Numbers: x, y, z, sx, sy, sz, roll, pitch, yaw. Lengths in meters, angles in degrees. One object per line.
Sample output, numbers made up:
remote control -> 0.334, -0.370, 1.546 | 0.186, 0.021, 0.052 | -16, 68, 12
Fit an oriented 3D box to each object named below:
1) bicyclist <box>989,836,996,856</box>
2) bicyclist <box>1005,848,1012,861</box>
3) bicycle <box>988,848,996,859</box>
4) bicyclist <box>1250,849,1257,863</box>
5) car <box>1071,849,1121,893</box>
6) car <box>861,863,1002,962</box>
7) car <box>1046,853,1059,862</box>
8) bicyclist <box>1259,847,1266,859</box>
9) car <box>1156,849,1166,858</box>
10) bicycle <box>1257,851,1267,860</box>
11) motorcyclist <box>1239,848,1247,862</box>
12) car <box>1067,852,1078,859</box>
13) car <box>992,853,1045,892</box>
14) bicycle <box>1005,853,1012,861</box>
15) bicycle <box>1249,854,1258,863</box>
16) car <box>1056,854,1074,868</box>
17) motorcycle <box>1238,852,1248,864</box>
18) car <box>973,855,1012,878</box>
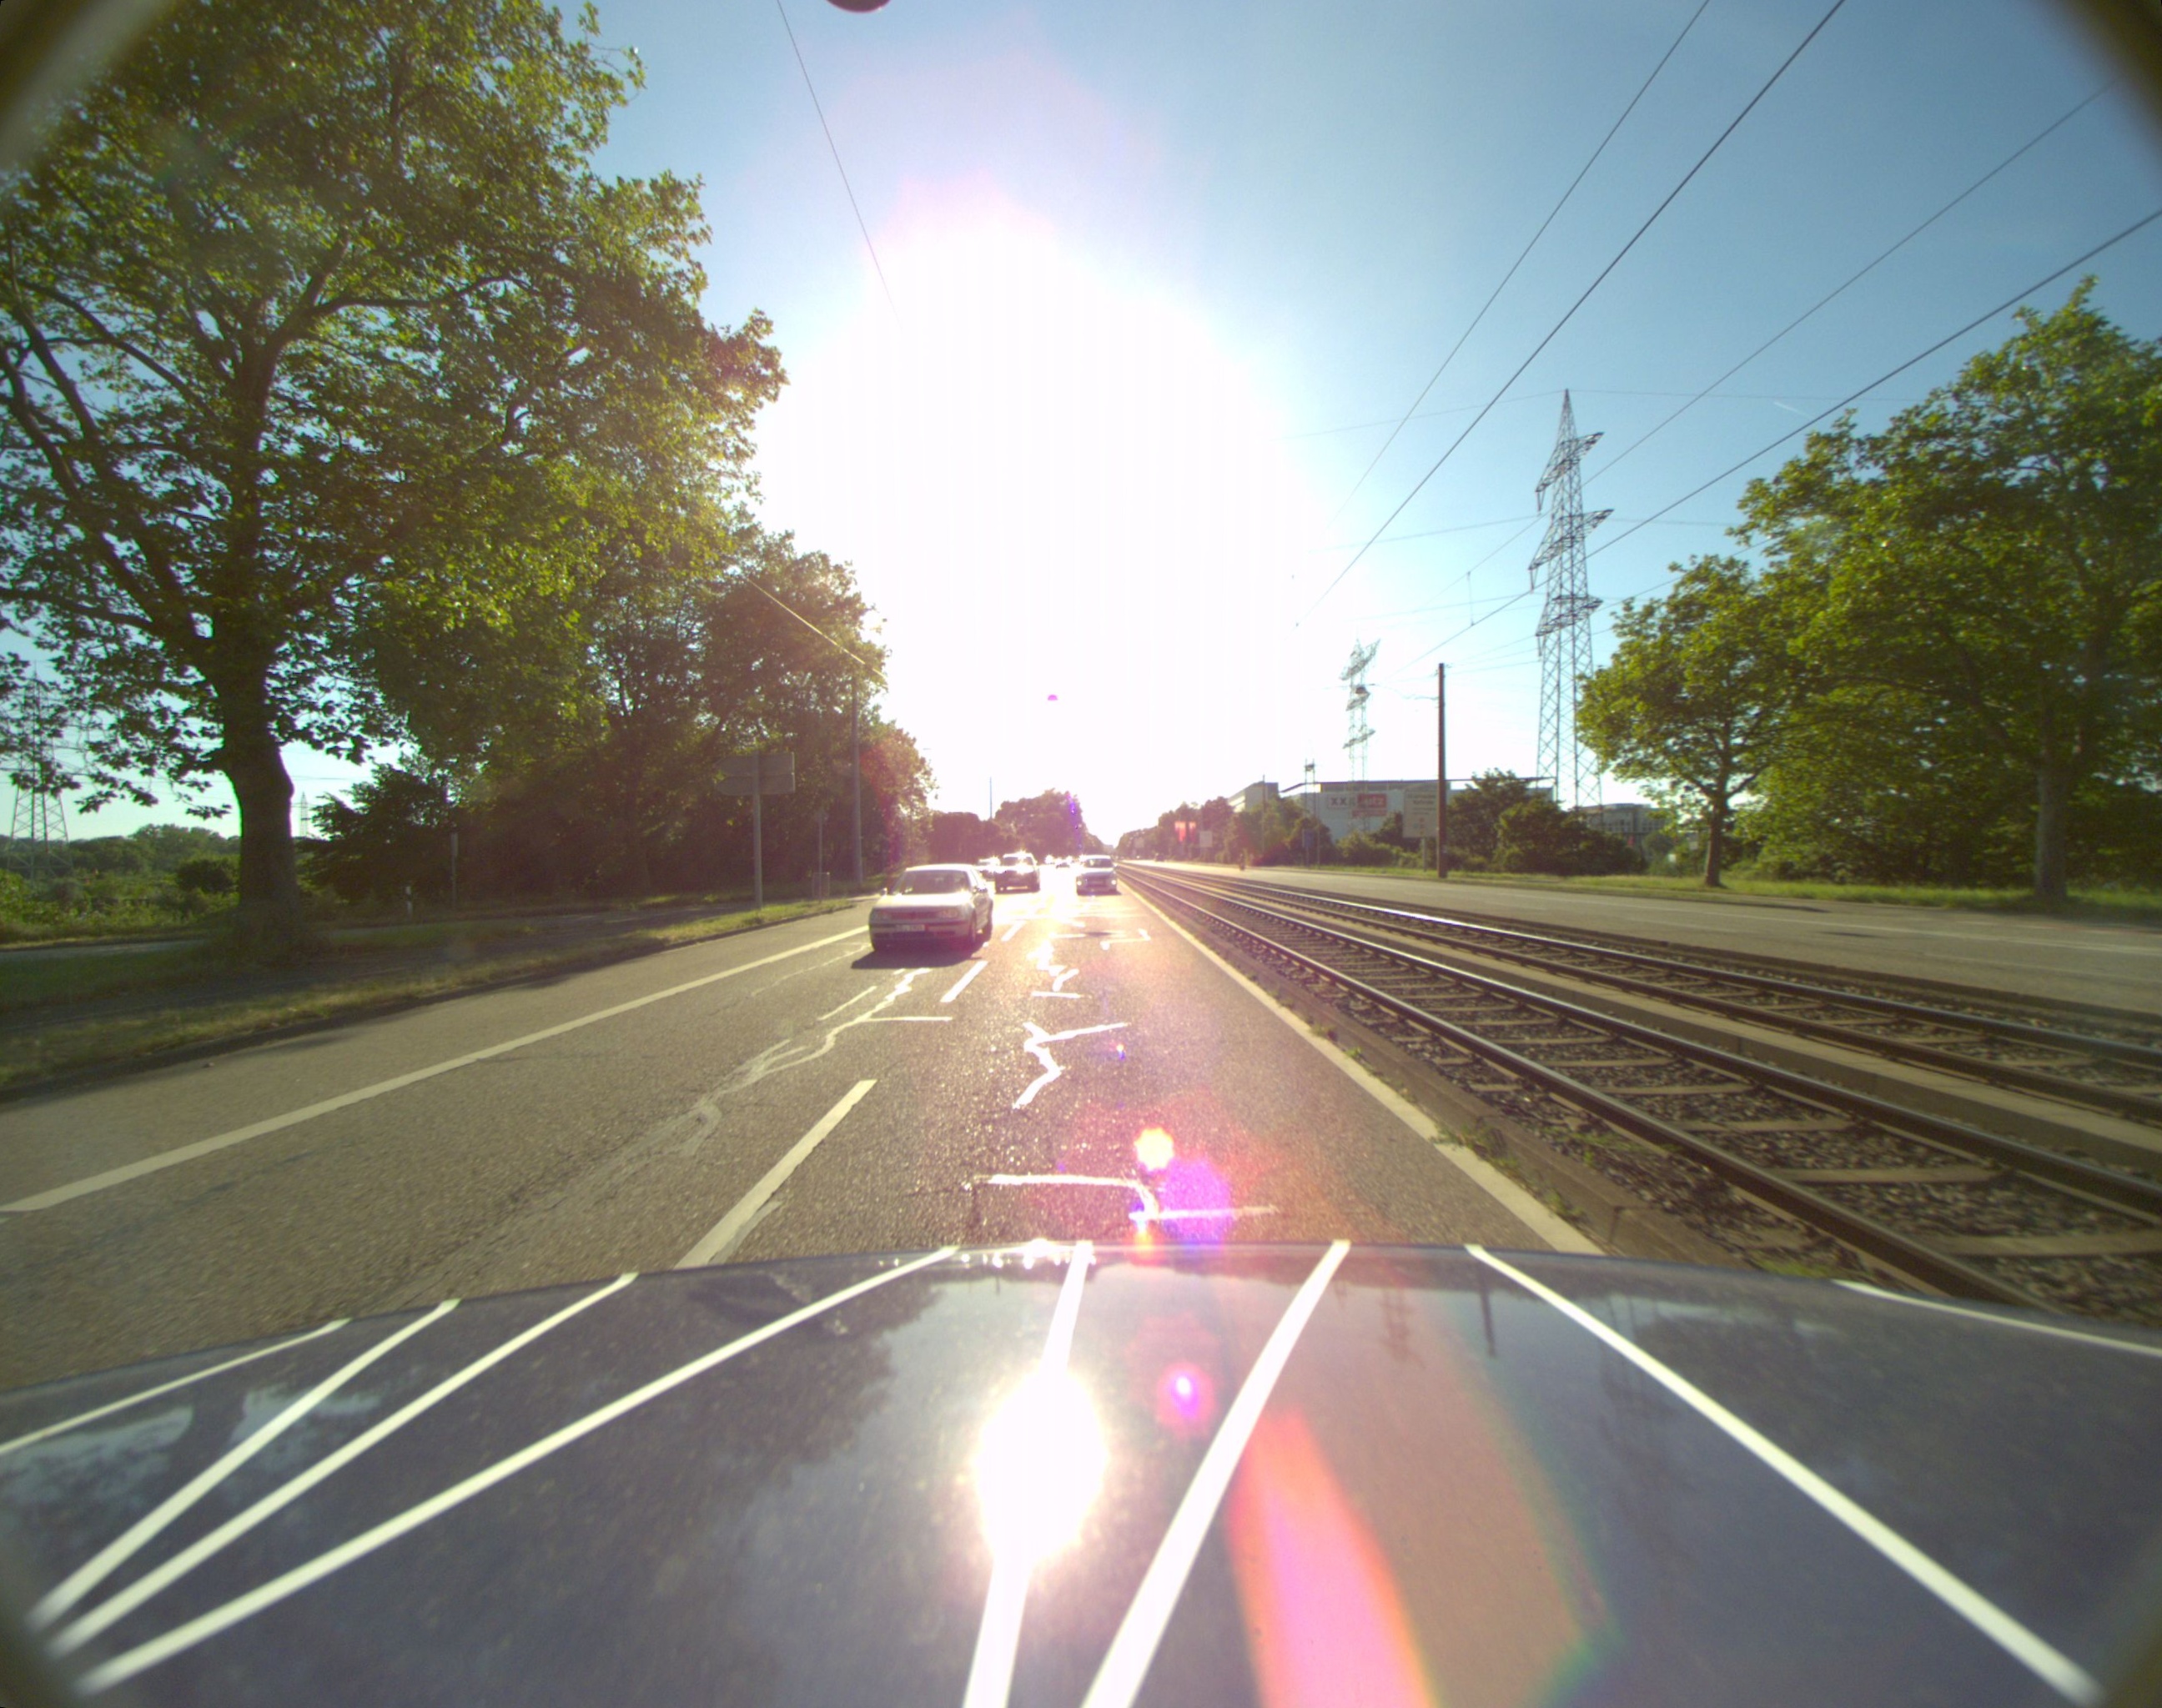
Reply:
bicyclist -> -9.008, -0.772, 77.577 | 0.528, 2.005, 0.729 | -3, 1, 2
bicyclist -> -8.706, 0.047, 91.703 | 0.628, 1.463, 1.060 | 3, 1, 3
bicycle -> -9.072, -0.042, 77.390 | 0.528, 1.054, 1.972 | -3, 0, 2
bicyclist -> 20.288, 0.186, 89.420 | 0.591, 1.601, 0.967 | -1, 1, 0
car -> 0.655, 0.628, 31.326 | 1.881, 1.591, 4.416 | -1, 1, 2
car -> -2.608, 0.968, 14.172 | 1.695, 1.437, 4.001 | -1, 1, 2
car -> -5.130, 0.555, 136.543 | 1.880, 1.449, 4.417 | -1, 1, 4
bicyclist -> 21.587, -0.124, 90.511 | 0.591, 1.519, 0.906 | -1, 1, 0
car -> 18.248, -0.049, 173.274 | 1.998, 1.911, 4.862 | 0, -1, 2
bicycle -> 21.593, 0.125, 90.603 | 0.591, 1.016, 2.185 | -1, 1, 0
motorcyclist -> 15.448, 0.079, 72.353 | 0.537, 1.263, 0.805 | -3, 1, 0
car -> -1.643, 0.302, 154.569 | 1.880, 1.449, 4.417 | -1, 1, 4
car -> -2.782, 0.797, 34.774 | 1.881, 1.591, 4.416 | -1, 1, 2
bicycle -> -8.731, 0.375, 91.567 | 0.628, 0.829, 1.635 | 3, 1, 3
bicycle -> 20.288, 0.491, 89.500 | 0.591, 1.016, 2.185 | -1, 1, 0
car -> -1.942, 0.831, 92.860 | 1.881, 1.449, 4.416 | -1, 1, 2
motorcycle -> 15.466, 0.392, 72.470 | 0.537, 1.084, 1.902 | -3, 1, 1
car -> -6.066, 0.838, 52.340 | 1.881, 1.435, 4.660 | -1, 1, 3
